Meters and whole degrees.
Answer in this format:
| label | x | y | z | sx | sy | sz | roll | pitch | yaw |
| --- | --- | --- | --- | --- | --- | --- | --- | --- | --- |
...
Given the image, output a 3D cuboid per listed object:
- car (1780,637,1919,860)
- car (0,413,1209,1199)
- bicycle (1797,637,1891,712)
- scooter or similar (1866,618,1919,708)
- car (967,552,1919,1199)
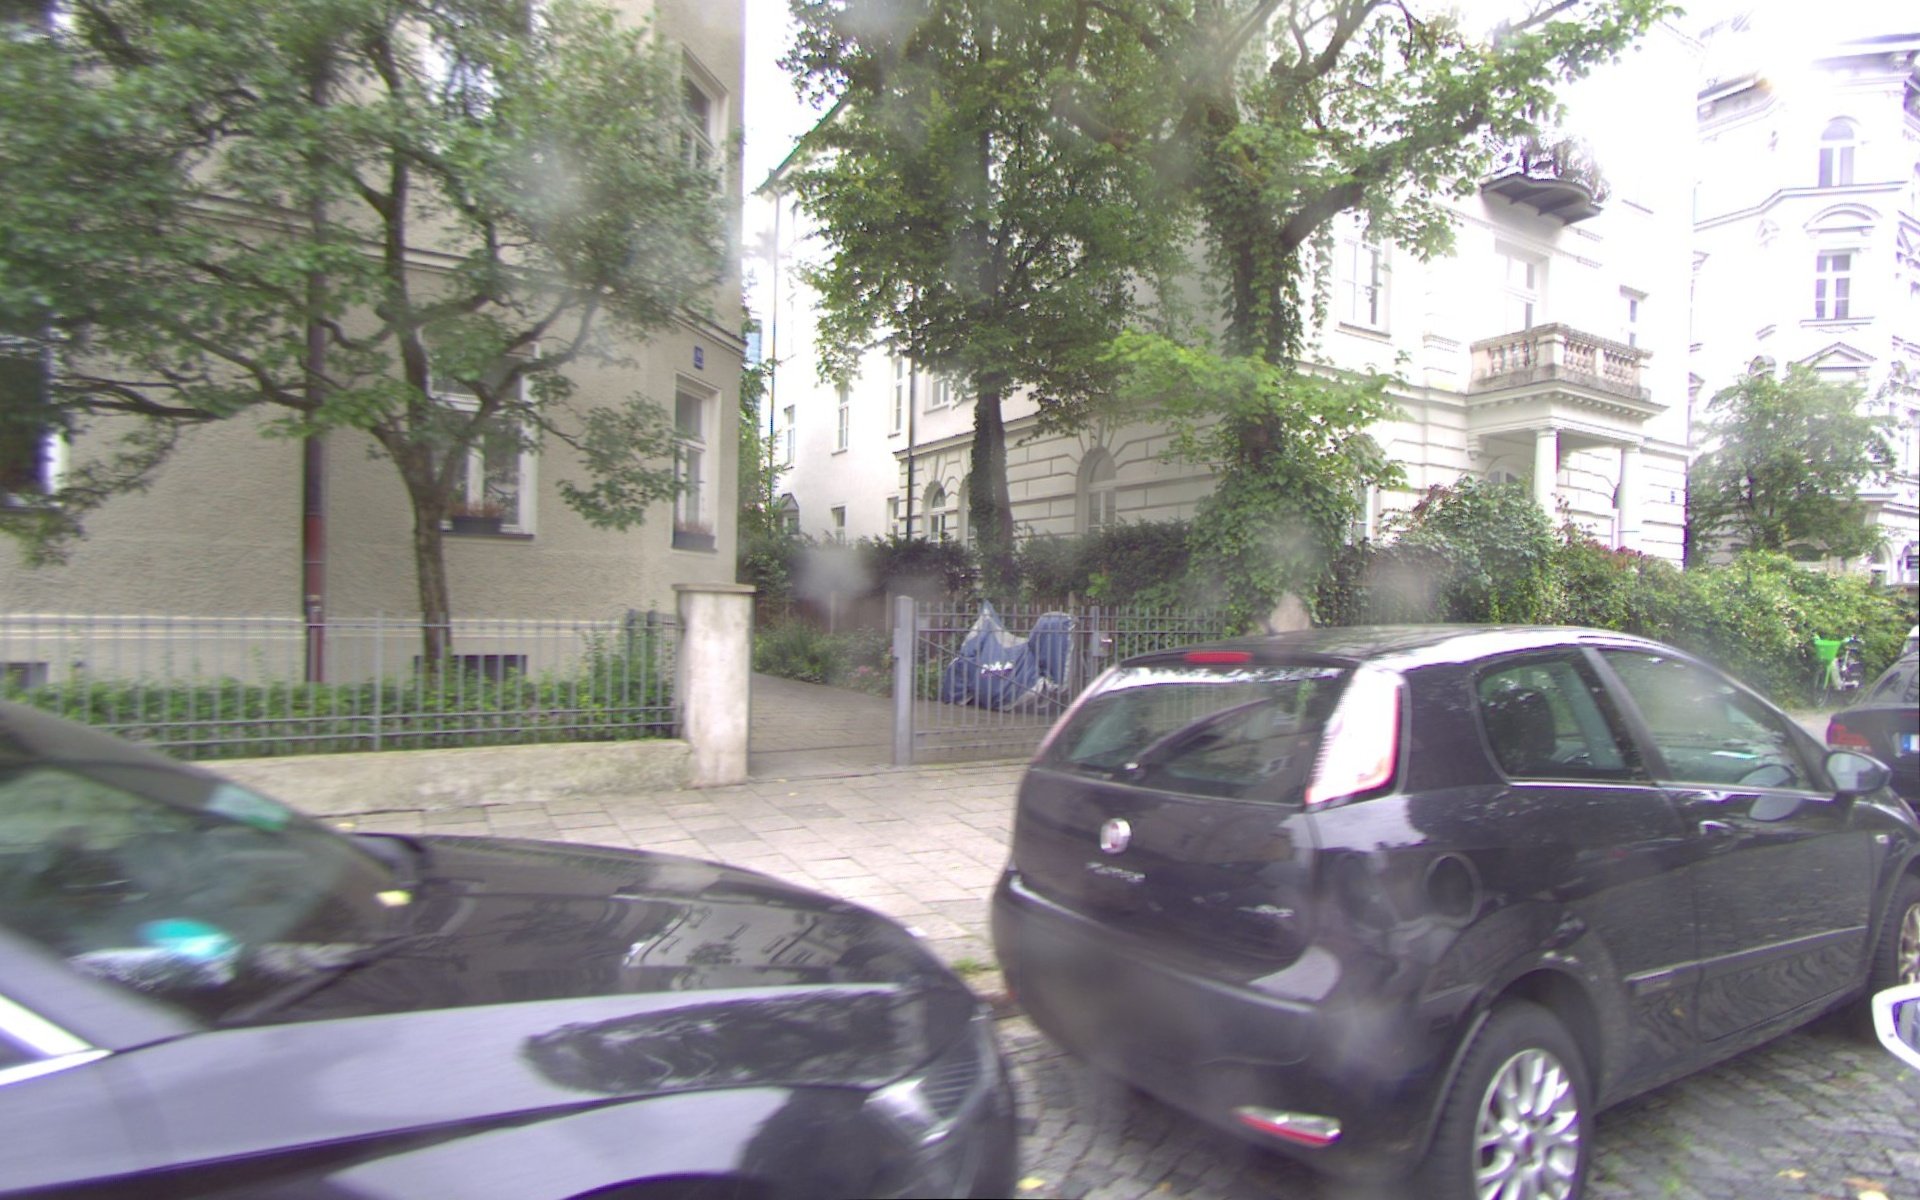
| label | x | y | z | sx | sy | sz | roll | pitch | yaw |
| --- | --- | --- | --- | --- | --- | --- | --- | --- | --- |
| car | 8.170 | 0.983 | 7.503 | 4.446 | 1.436 | 1.774 | 1 | -3 | -32 |
| car | -2.222 | 0.632 | 1.267 | 4.956 | 1.581 | 1.970 | 1 | -2 | -29 |
| bicycle | 14.433 | 1.190 | 16.386 | 2.028 | 1.137 | 0.573 | 1 | 0 | -32 |
| scooter or similar | 16.876 | 1.074 | 17.455 | 2.626 | 1.461 | 0.936 | 1 | 1 | -32 |
| car | 2.187 | 0.695 | 3.716 | 4.127 | 1.463 | 1.652 | 1 | -2 | -34 |
